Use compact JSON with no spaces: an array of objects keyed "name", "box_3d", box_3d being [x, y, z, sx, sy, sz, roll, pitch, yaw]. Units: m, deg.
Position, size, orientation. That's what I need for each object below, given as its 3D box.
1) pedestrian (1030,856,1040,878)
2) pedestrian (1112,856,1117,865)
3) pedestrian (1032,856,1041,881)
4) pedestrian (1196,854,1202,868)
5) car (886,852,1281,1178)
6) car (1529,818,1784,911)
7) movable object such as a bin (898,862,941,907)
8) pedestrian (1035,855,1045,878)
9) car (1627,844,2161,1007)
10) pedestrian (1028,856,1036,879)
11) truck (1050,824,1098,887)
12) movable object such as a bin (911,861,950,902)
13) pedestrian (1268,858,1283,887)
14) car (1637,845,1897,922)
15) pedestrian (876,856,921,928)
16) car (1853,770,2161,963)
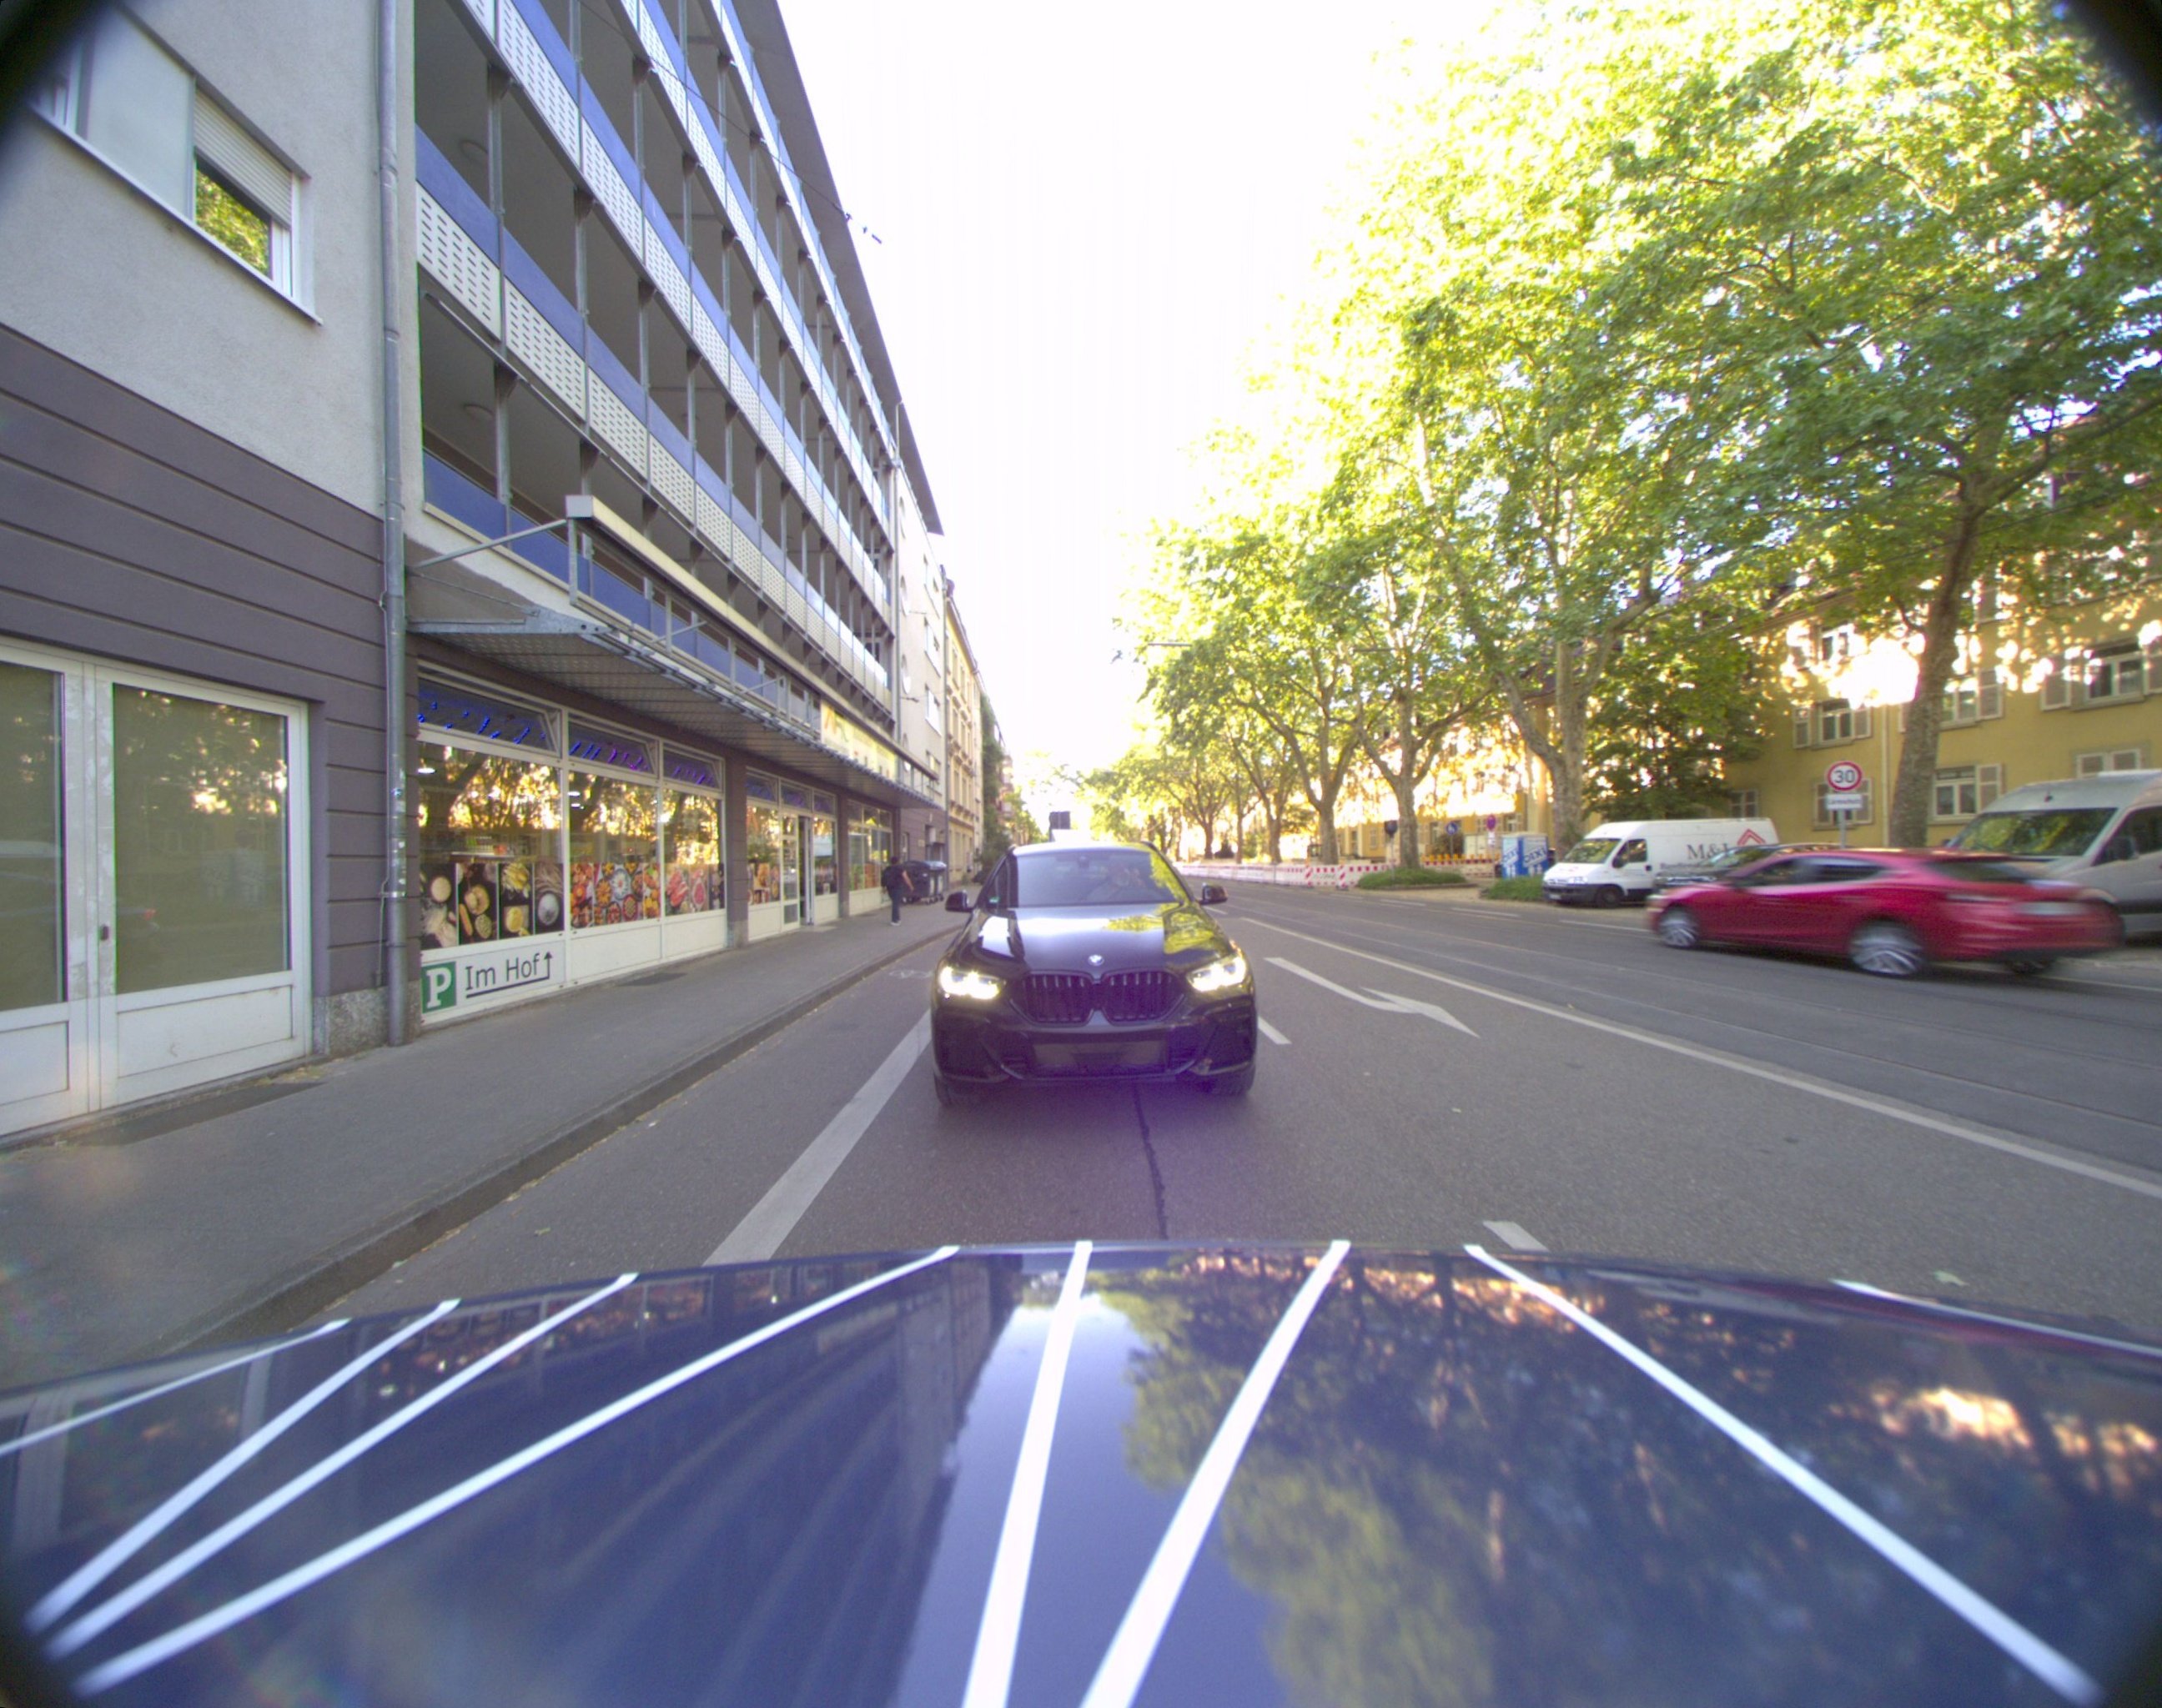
[{"name":"pedestrian","box_3d":[-3.921,1.099,64.546,0.733,1.875,0.664,-2,1,-1]},{"name":"pedestrian","box_3d":[6.471,1.266,147.425,0.733,1.875,0.741,-2,1,-1]},{"name":"pedestrian","box_3d":[-3.501,1.135,59.881,0.600,1.875,0.581,-2,1,-1]},{"name":"pedestrian","box_3d":[16.102,0.949,103.298,0.732,1.875,0.665,-2,1,8]},{"name":"car","box_3d":[0.042,0.834,6.040,1.998,1.643,4.295,-1,0,1]},{"name":"car","box_3d":[15.844,0.289,21.162,5.404,2.362,2.223,-1,0,0]},{"name":"movable object such as a bin","box_3d":[-5.217,0.982,24.661,1.158,1.418,0.939,-1,0,1]},{"name":"pedestrian","box_3d":[-3.457,1.075,63.570,0.733,1.875,0.664,-2,1,-1]},{"name":"car","box_3d":[9.706,0.707,9.735,2.022,1.556,4.490,-1,0,-3]},{"name":"pedestrian","box_3d":[-4.039,1.127,62.392,0.600,1.875,0.581,-2,1,-1]},{"name":"truck","box_3d":[-0.316,0.120,42.159,2.394,3.170,6.587,-2,0,1]},{"name":"movable object such as a bin","box_3d":[-5.283,0.953,26.699,1.158,1.418,0.939,-1,0,1]},{"name":"pedestrian","box_3d":[11.685,1.111,45.655,0.652,1.735,0.583,-2,1,-1]},{"name":"car","box_3d":[16.078,0.657,17.954,4.627,1.642,1.774,-1,0,-2]},{"name":"pedestrian","box_3d":[-4.064,0.839,16.974,0.864,1.582,0.622,1,0,-5]},{"name":"car","box_3d":[15.984,0.128,11.872,5.666,2.666,2.223,-2,0,-2]}]
